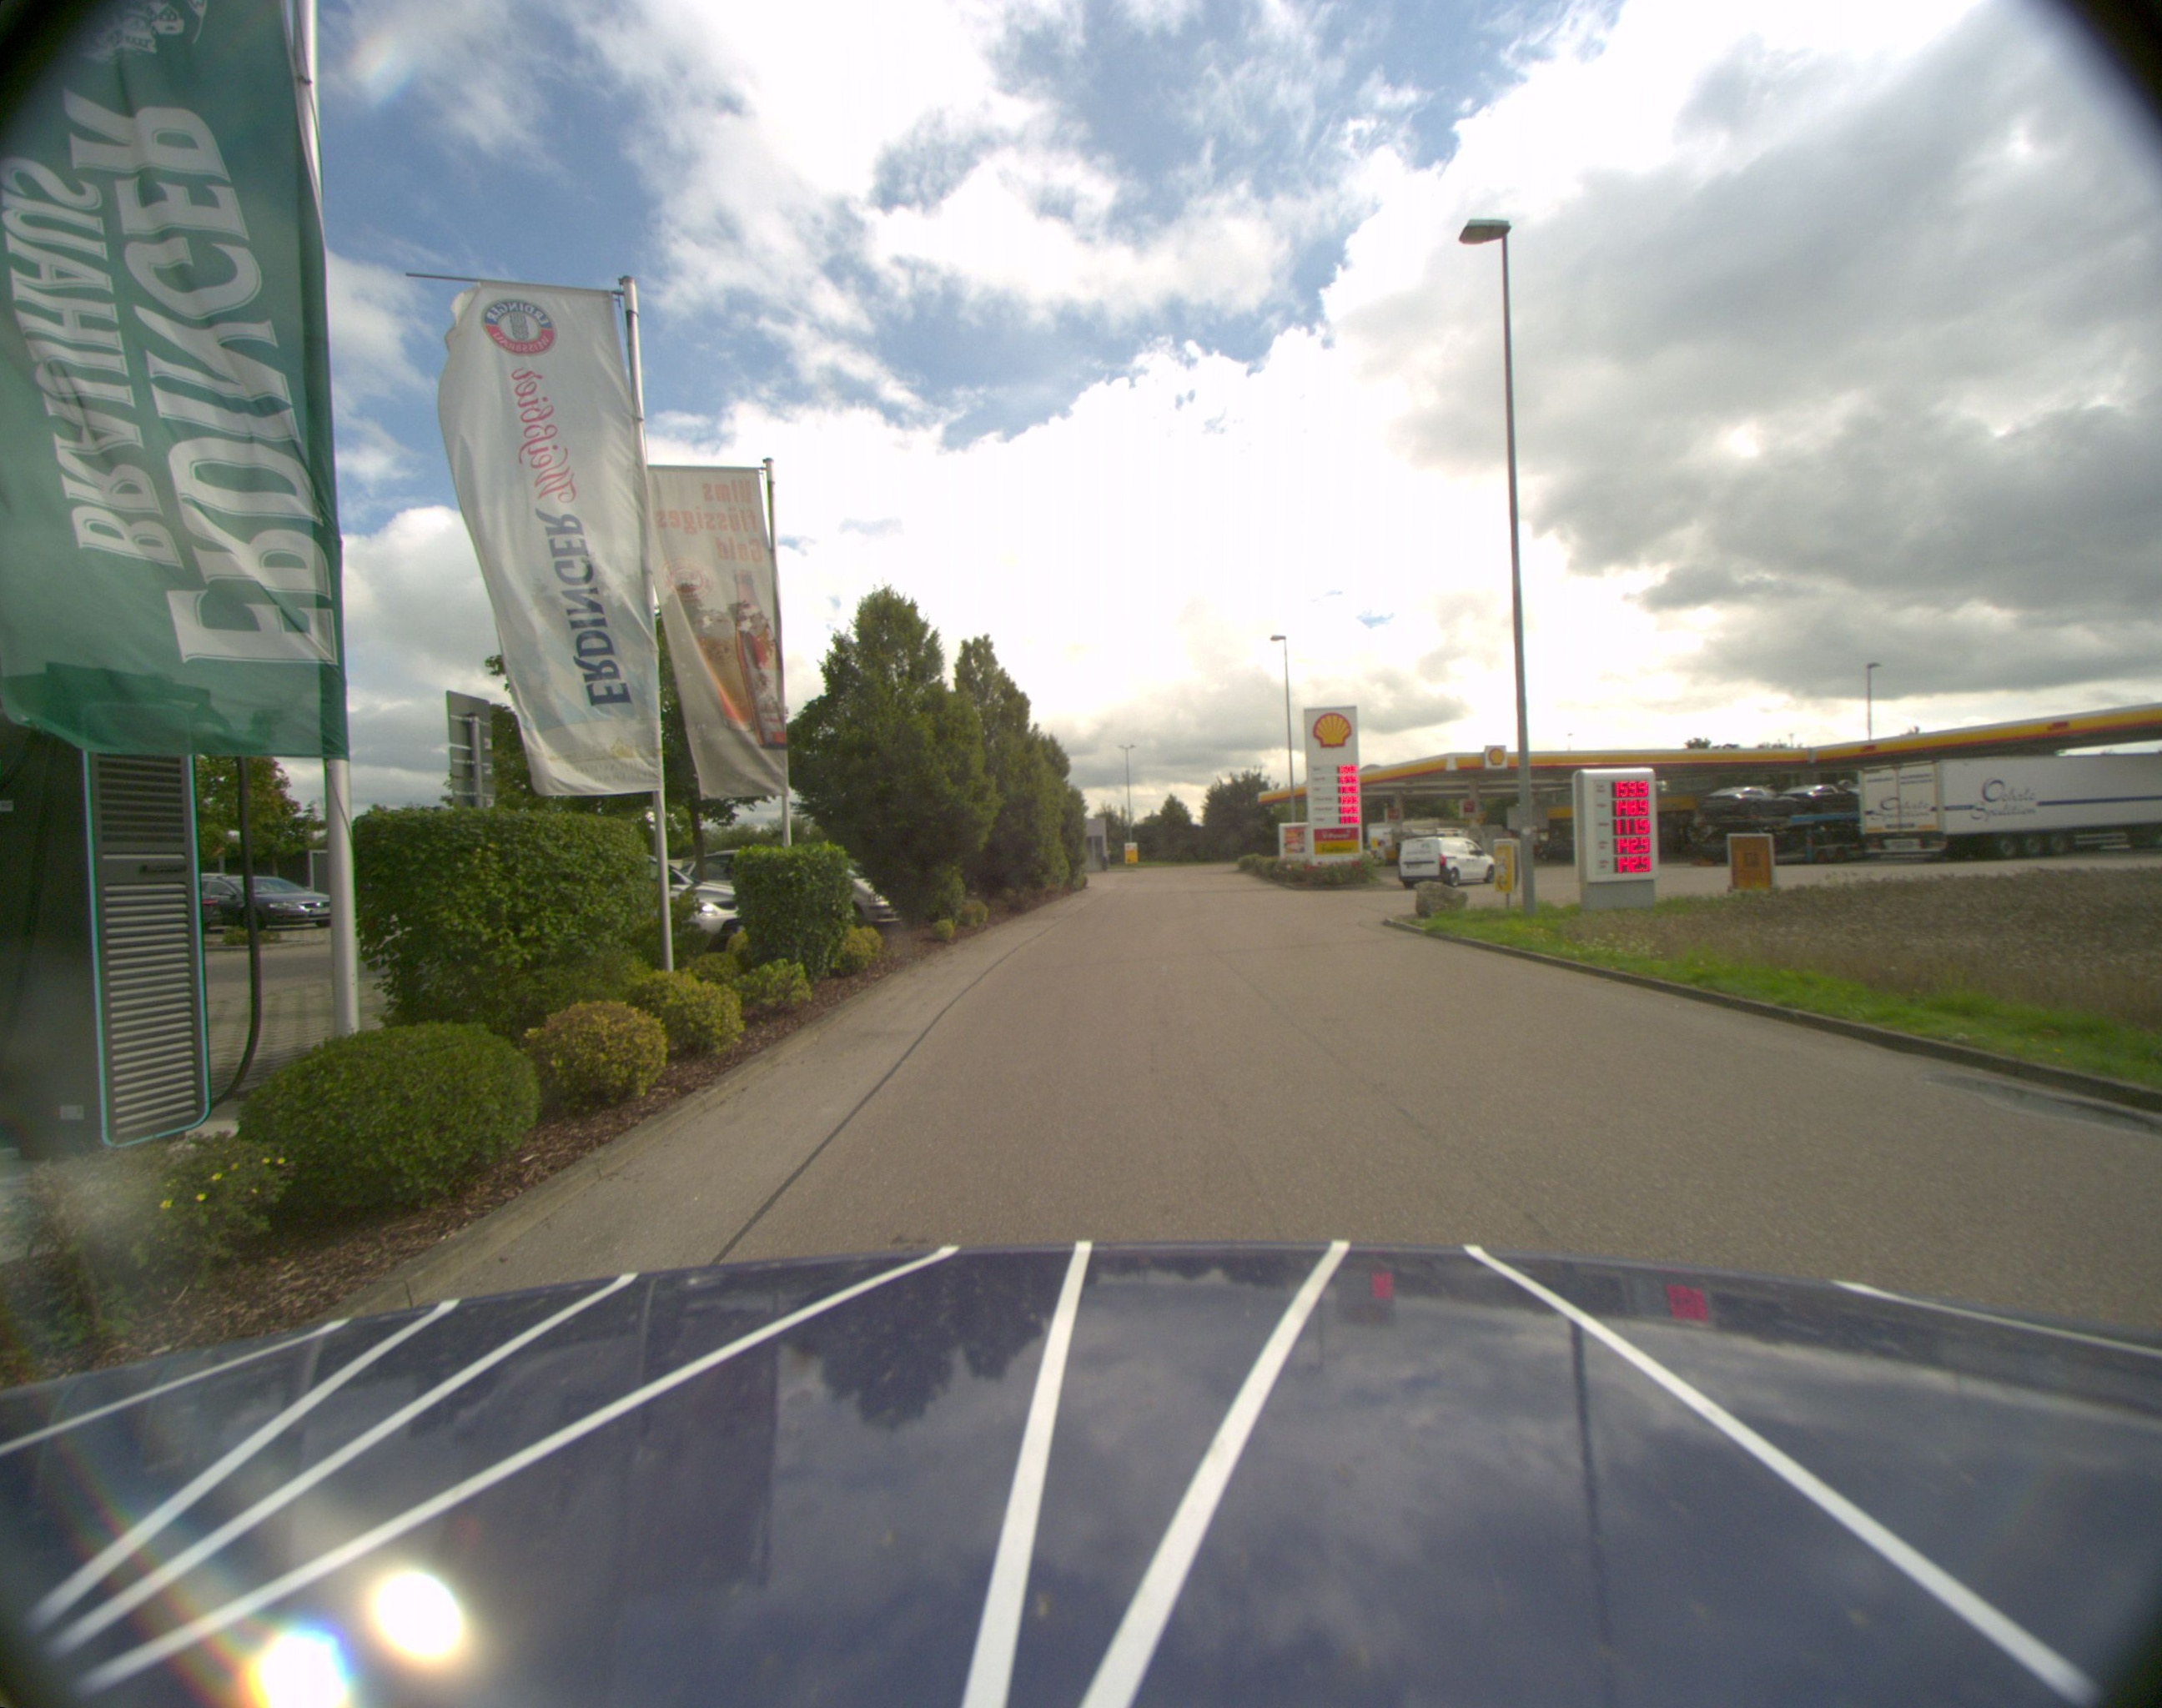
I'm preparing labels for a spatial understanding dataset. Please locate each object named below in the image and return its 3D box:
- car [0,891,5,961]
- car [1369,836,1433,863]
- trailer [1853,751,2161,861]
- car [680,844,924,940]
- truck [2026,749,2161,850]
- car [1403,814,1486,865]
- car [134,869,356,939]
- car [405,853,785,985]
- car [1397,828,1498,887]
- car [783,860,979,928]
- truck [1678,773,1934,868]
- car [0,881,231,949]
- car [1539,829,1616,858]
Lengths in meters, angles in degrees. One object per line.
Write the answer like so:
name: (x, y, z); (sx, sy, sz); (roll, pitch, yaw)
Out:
car: (-22.961, 1.470, 14.033); (4.271, 1.338, 1.722); (-2, 0, 7)
car: (20.224, -0.294, 47.968); (3.968, 1.550, 1.995); (-2, 0, -38)
trailer: (38.820, -1.991, 31.495); (12.849, 4.001, 2.710); (-2, 0, -10)
car: (-5.621, 0.750, 15.551); (4.358, 1.706, 1.658); (-2, 0, 8)
truck: (45.335, -2.350, 32.703); (7.169, 4.001, 2.710); (-2, 0, -10)
car: (21.212, -0.858, 44.221); (5.819, 2.770, 2.218); (-2, 0, -42)
car: (-21.927, 1.290, 20.022); (3.994, 1.561, 2.001); (-2, 0, 8)
car: (-7.092, 0.891, 11.297); (4.672, 1.687, 1.920); (-1, 1, 11)
car: (13.303, 0.103, 27.474); (3.888, 2.000, 1.792); (-2, 0, -40)
car: (-4.580, 0.908, 17.691); (3.995, 1.342, 1.726); (-2, 0, 6)
truck: (34.262, -1.651, 35.776); (13.267, 3.901, 2.747); (-3, 2, -18)
car: (-22.937, 1.420, 17.889); (4.271, 1.338, 1.722); (-2, 0, 7)
car: (30.096, -0.601, 46.198); (1.717, 1.592, 3.757); (-3, 0, -13)
